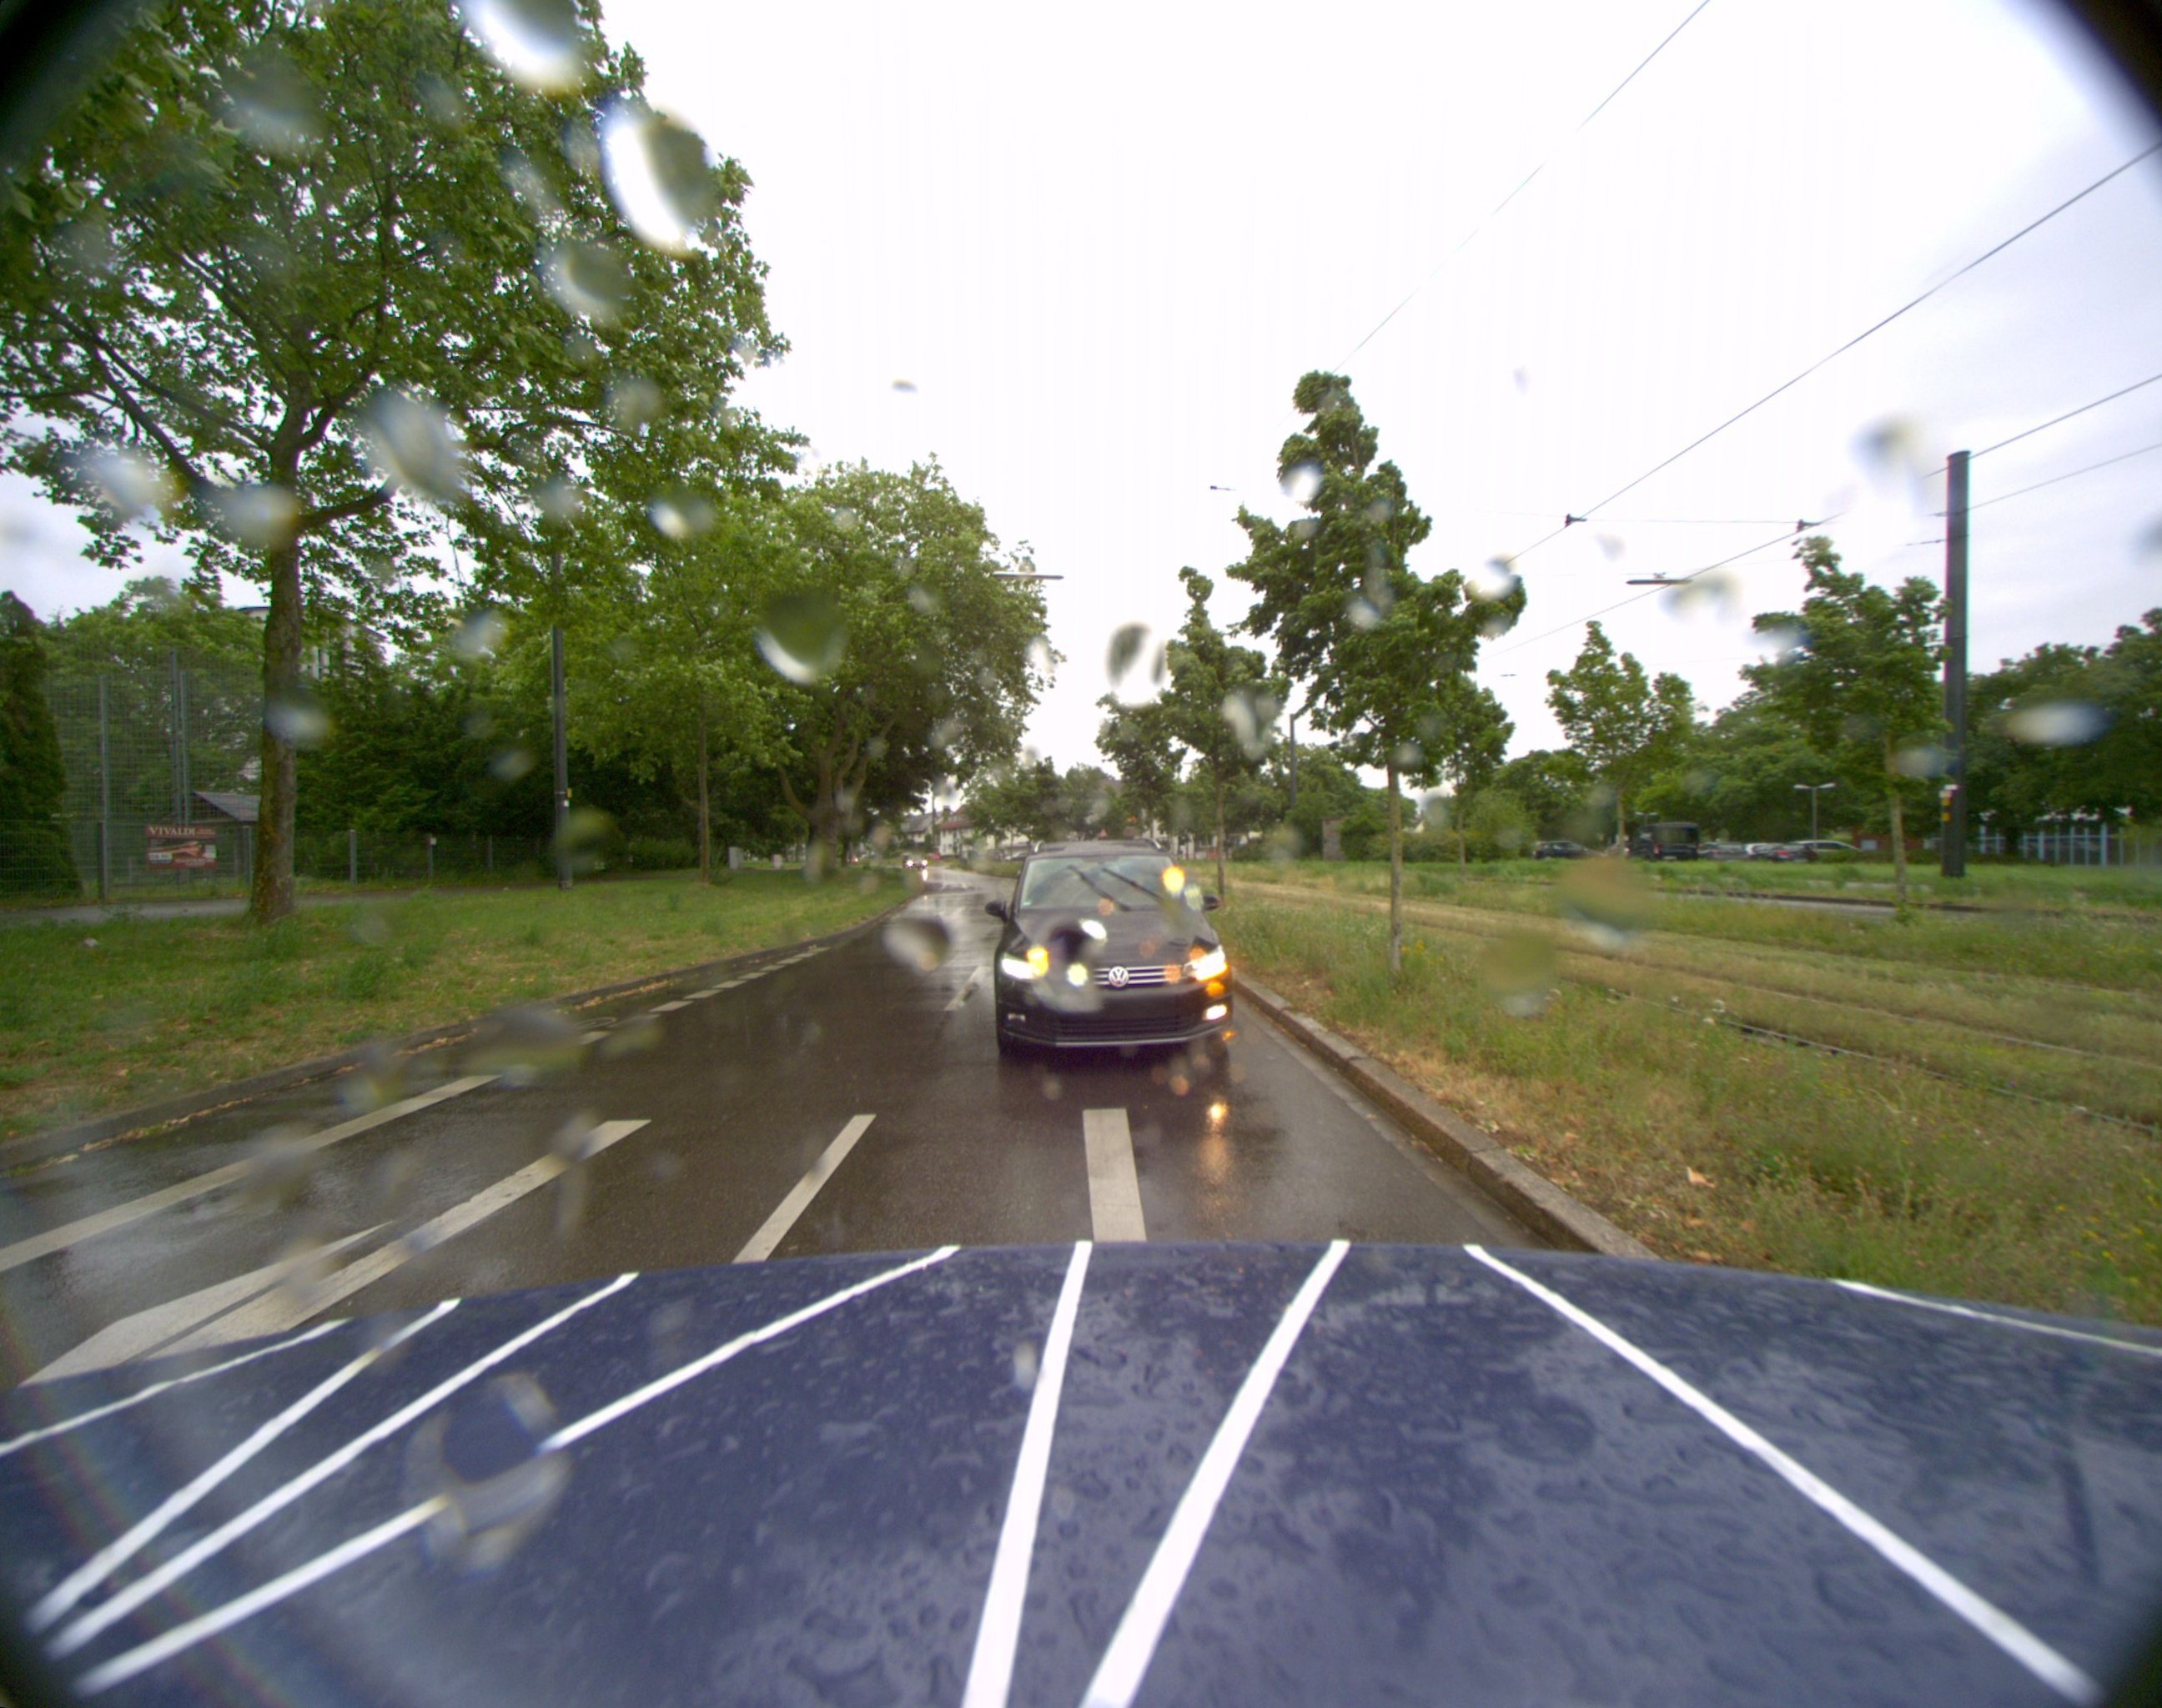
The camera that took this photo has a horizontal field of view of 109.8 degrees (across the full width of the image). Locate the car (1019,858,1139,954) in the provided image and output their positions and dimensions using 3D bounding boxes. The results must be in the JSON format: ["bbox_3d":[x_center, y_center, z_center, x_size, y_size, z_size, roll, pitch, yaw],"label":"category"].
[{"bbox_3d":[-0.091,0.808,13.655,1.788,1.355,3.996,-2,1,-2],"label":"car"}]

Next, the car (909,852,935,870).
[{"bbox_3d":[-16.072,0.694,76.548,1.875,1.608,3.802,-3,1,-21],"label":"car"}]

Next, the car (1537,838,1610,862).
[{"bbox_3d":[34.753,-0.288,53.742,4.172,1.474,1.786,-2,1,27],"label":"car"}]

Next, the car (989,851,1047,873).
[{"bbox_3d":[-4.652,0.566,55.533,4.046,1.412,1.674,-2,1,-10],"label":"car"}]

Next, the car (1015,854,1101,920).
[{"bbox_3d":[-0.675,0.738,19.021,1.789,1.396,3.791,-2,1,-6],"label":"car"}]

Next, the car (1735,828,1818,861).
[{"bbox_3d":[36.547,-0.518,40.076,2.057,1.563,5.024,-2,1,29],"label":"car"}]

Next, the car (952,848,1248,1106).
[{"bbox_3d":[0.149,0.788,7.208,1.866,1.592,4.524,-2,1,1],"label":"car"}]

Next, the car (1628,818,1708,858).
[{"bbox_3d":[31.994,-0.883,41.595,2.307,2.002,5.125,-2,1,24],"label":"car"}]

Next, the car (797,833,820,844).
[{"bbox_3d":[-51.515,-2.957,143.596,4.004,1.816,1.996,-3,1,-24],"label":"car"}]

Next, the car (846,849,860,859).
[{"bbox_3d":[-33.231,0.015,110.718,1.791,1.373,3.858,-3,1,-19],"label":"car"}]

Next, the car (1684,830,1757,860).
[{"bbox_3d":[34.635,-0.513,41.277,1.752,1.522,4.856,-2,1,24],"label":"car"}]
